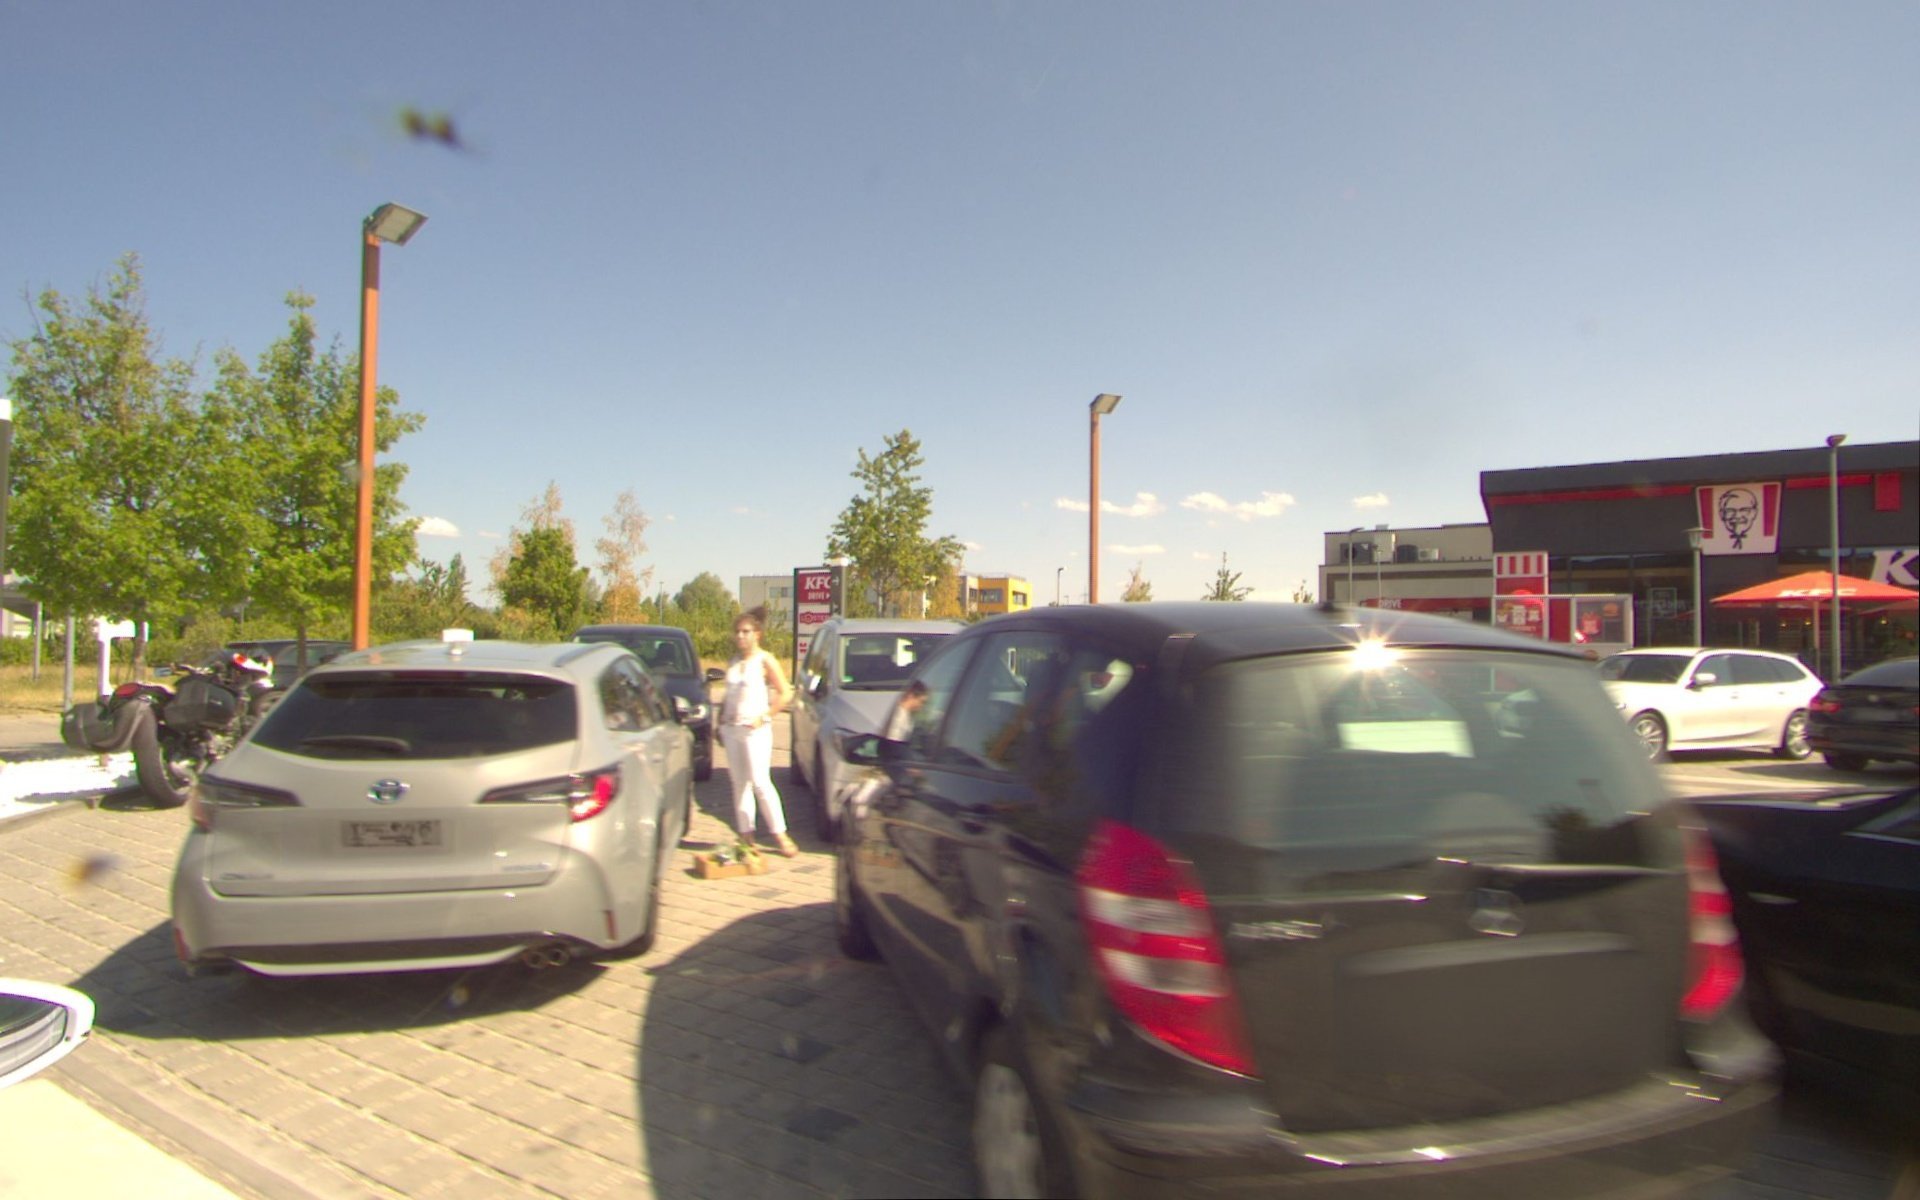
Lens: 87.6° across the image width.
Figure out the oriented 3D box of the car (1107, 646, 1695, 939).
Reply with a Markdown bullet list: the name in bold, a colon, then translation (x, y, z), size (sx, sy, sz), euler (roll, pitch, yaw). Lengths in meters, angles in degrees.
- **car**: translation (2.666, 1.077, 7.224), size (1.761, 1.426, 4.078), euler (1, -2, -14)

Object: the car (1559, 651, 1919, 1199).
- **car**: translation (3.598, 0.854, 2.010), size (1.795, 1.467, 4.074), euler (1, -3, -13)

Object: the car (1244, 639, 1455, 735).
- **car**: translation (7.187, 1.574, 18.969), size (1.725, 1.596, 4.085), euler (1, -3, -13)

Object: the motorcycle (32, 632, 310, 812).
- **motorcycle**: translation (-6.495, 0.938, 8.461), size (1.052, 1.266, 2.248), euler (3, -2, -17)

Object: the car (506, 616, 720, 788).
- **car**: translation (-3.771, 1.020, 11.360), size (1.862, 1.556, 4.185), euler (1, -2, -16)

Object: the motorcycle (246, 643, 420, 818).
- **motorcycle**: translation (-5.200, 1.013, 8.466), size (0.807, 1.247, 2.136), euler (2, -2, -21)

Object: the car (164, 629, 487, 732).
- **car**: translation (-10.219, 1.279, 16.490), size (1.674, 1.458, 4.197), euler (-2, -4, 30)

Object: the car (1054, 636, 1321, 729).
- **car**: translation (3.862, 1.382, 17.124), size (4.114, 1.443, 1.841), euler (2, -3, -19)

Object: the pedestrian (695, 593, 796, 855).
- **pedestrian**: translation (-1.472, 0.837, 6.945), size (0.599, 1.734, 0.563), euler (1, -2, -6)

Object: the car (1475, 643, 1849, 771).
- **car**: translation (9.359, 1.361, 13.395), size (4.396, 1.490, 1.911), euler (2, -3, -19)

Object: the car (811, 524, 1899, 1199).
- **car**: translation (0.568, 0.796, 3.767), size (1.779, 1.613, 3.997), euler (1, -3, -15)

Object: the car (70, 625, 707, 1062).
- **car**: translation (-2.545, 0.915, 5.840), size (1.801, 1.465, 4.660), euler (1, -2, -11)

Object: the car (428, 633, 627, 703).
- **car**: translation (-10.866, 1.700, 25.505), size (1.841, 1.620, 4.473), euler (0, -3, 28)

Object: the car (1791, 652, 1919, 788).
- **car**: translation (11.800, 1.341, 11.570), size (3.936, 1.420, 1.816), euler (2, -3, -23)

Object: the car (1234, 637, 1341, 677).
- **car**: translation (14.518, 2.509, 44.470), size (4.317, 1.706, 1.636), euler (-1, -3, 29)

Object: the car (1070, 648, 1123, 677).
- **car**: translation (8.026, 3.656, 58.624), size (1.920, 1.588, 3.988), euler (-1, -3, 27)

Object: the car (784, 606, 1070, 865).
- **car**: translation (-0.537, 0.969, 8.634), size (1.716, 1.660, 4.065), euler (1, -2, -13)

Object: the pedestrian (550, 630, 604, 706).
- **pedestrian**: translation (-9.552, 1.689, 24.972), size (1.019, 1.823, 0.734), euler (1, -2, 29)
